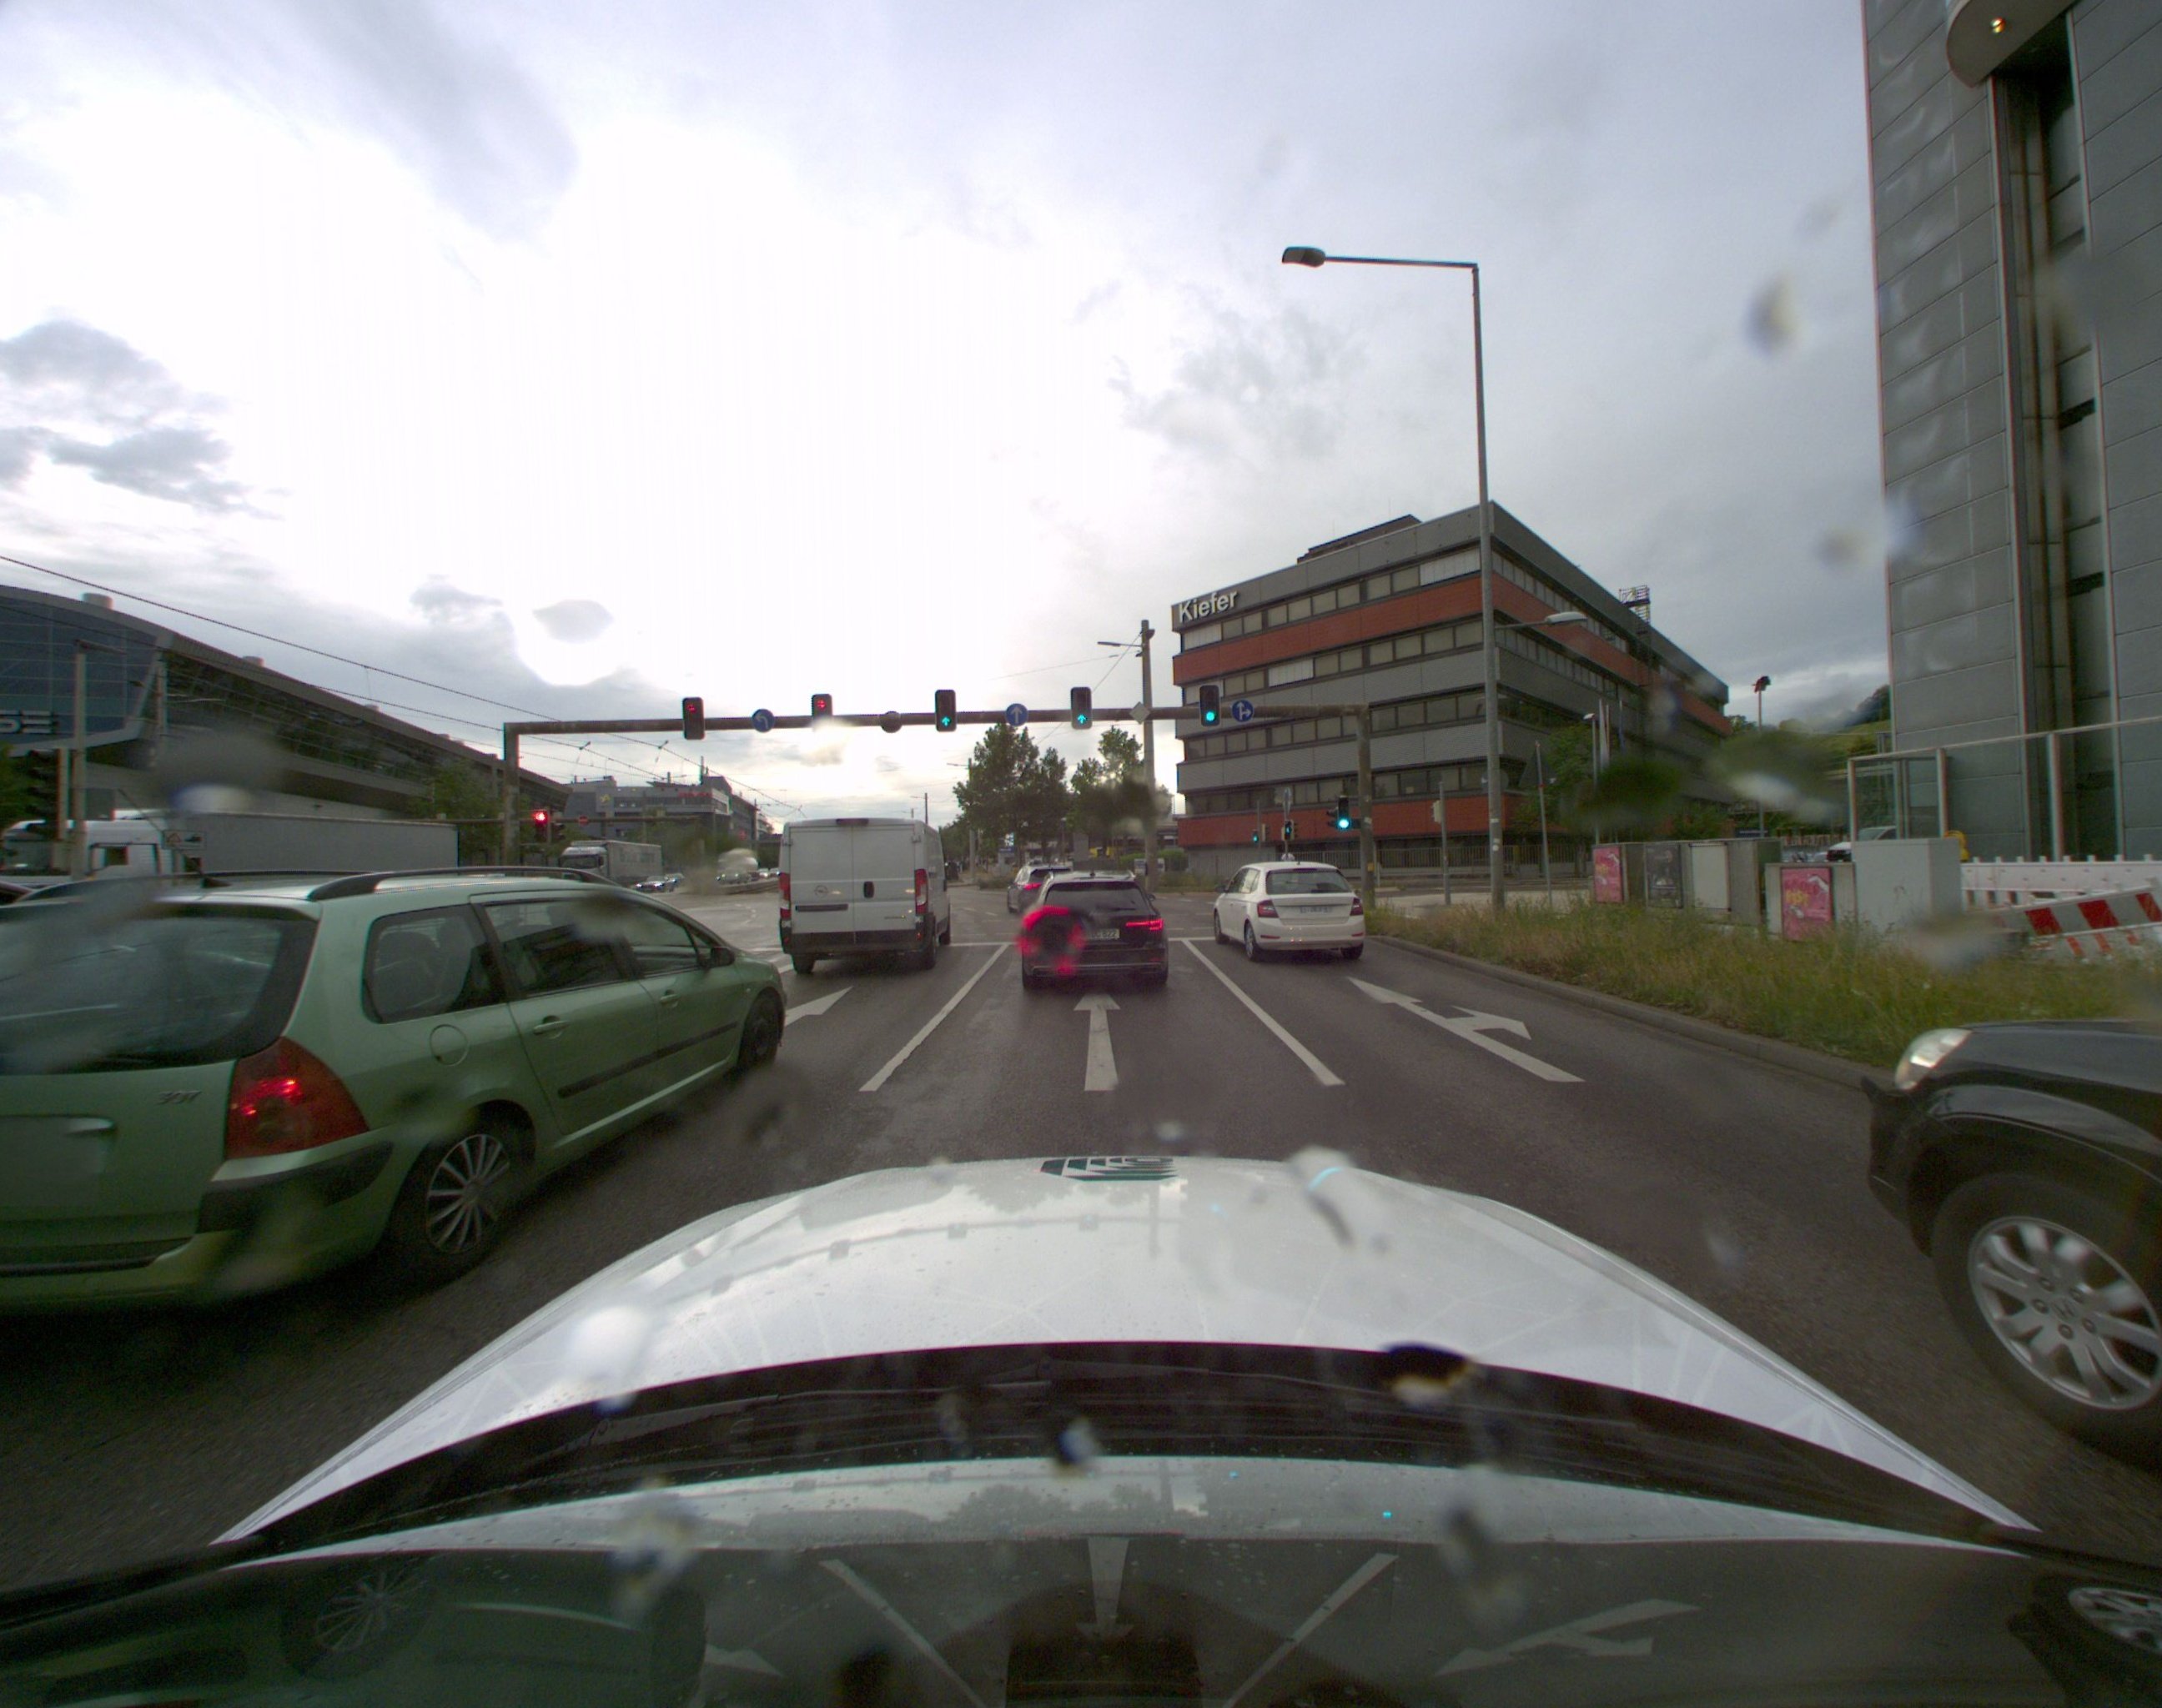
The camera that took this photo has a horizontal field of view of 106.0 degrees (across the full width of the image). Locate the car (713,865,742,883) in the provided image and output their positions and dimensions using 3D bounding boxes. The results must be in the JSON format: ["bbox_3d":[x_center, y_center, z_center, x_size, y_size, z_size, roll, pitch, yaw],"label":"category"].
[{"bbox_3d":[-40.244,2.227,92.810,1.995,1.837,4.888,1,0,-12],"label":"car"}]

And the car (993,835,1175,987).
[{"bbox_3d":[0.102,0.667,11.063,1.986,1.637,4.001,-2,-1,2],"label":"car"}]

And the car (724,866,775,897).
[{"bbox_3d":[-22.762,1.857,56.065,1.768,2.014,4.344,1,-1,-1],"label":"car"}]

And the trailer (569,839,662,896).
[{"bbox_3d":[-37.575,1.144,66.374,2.651,4.125,12.694,-1,-1,-11],"label":"trailer"}]

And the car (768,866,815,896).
[{"bbox_3d":[-20.292,1.855,57.258,1.768,2.014,4.344,1,-1,-1],"label":"car"}]

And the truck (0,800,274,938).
[{"bbox_3d":[-30.984,0.467,26.991,2.828,3.996,5.973,-1,-1,-6],"label":"truck"}]

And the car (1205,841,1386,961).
[{"bbox_3d":[3.297,0.711,13.353,1.824,1.656,3.997,0,-2,-2],"label":"car"}]

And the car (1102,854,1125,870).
[{"bbox_3d":[4.313,1.081,109.788,1.876,2.014,3.749,1,-2,-19],"label":"car"}]

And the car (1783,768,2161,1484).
[{"bbox_3d":[3.298,0.608,0.727,1.758,1.630,4.327,1,-1,2],"label":"car"}]

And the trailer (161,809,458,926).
[{"bbox_3d":[-31.809,0.525,34.693,2.792,4.107,11.415,-2,0,-7],"label":"trailer"}]

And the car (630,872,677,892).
[{"bbox_3d":[-33.679,2.179,64.290,1.903,1.555,4.549,1,-1,-10],"label":"car"}]

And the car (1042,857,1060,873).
[{"bbox_3d":[-3.910,1.427,106.569,1.681,2.014,3.524,1,-2,-14],"label":"car"}]

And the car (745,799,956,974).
[{"bbox_3d":[-3.406,0.512,13.227,2.442,2.294,4.893,1,-2,-6],"label":"car"}]

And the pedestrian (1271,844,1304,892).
[{"bbox_3d":[9.409,0.638,37.177,1.139,2.125,1.223,-2,0,1],"label":"pedestrian"}]

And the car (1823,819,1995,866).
[{"bbox_3d":[36.174,-0.470,35.742,5.033,1.916,2.006,-1,-2,11],"label":"car"}]

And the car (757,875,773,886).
[{"bbox_3d":[-48.766,4.106,125.669,2.166,1.506,4.273,-2,-1,-19],"label":"car"}]

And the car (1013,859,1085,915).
[{"bbox_3d":[-1.016,0.937,23.770,1.891,1.465,3.901,-1,-2,-6],"label":"car"}]

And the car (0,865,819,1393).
[{"bbox_3d":[-3.075,0.829,4.517,1.688,1.468,4.404,1,-2,1],"label":"car"}]

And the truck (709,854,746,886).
[{"bbox_3d":[-44.999,2.055,103.766,2.743,3.805,5.398,-3,-1,-7],"label":"truck"}]

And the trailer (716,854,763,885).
[{"bbox_3d":[-45.663,2.167,109.357,2.722,3.855,11.199,-2,-1,-7],"label":"trailer"}]

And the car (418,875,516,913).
[{"bbox_3d":[-28.513,1.841,37.983,1.887,1.652,4.082,1,-2,-9],"label":"car"}]

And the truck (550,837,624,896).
[{"bbox_3d":[-36.405,0.955,60.289,2.668,4.130,6.161,-1,-2,-11],"label":"truck"}]

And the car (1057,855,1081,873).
[{"bbox_3d":[-1.460,1.180,97.713,1.997,2.032,3.980,-2,-1,-14],"label":"car"}]

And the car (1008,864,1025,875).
[{"bbox_3d":[-10.238,2.431,129.148,1.795,1.591,3.978,-2,-1,-16],"label":"car"}]

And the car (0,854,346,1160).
[{"bbox_3d":[-6.486,0.779,4.019,1.719,1.592,4.195,1,-1,3],"label":"car"}]
